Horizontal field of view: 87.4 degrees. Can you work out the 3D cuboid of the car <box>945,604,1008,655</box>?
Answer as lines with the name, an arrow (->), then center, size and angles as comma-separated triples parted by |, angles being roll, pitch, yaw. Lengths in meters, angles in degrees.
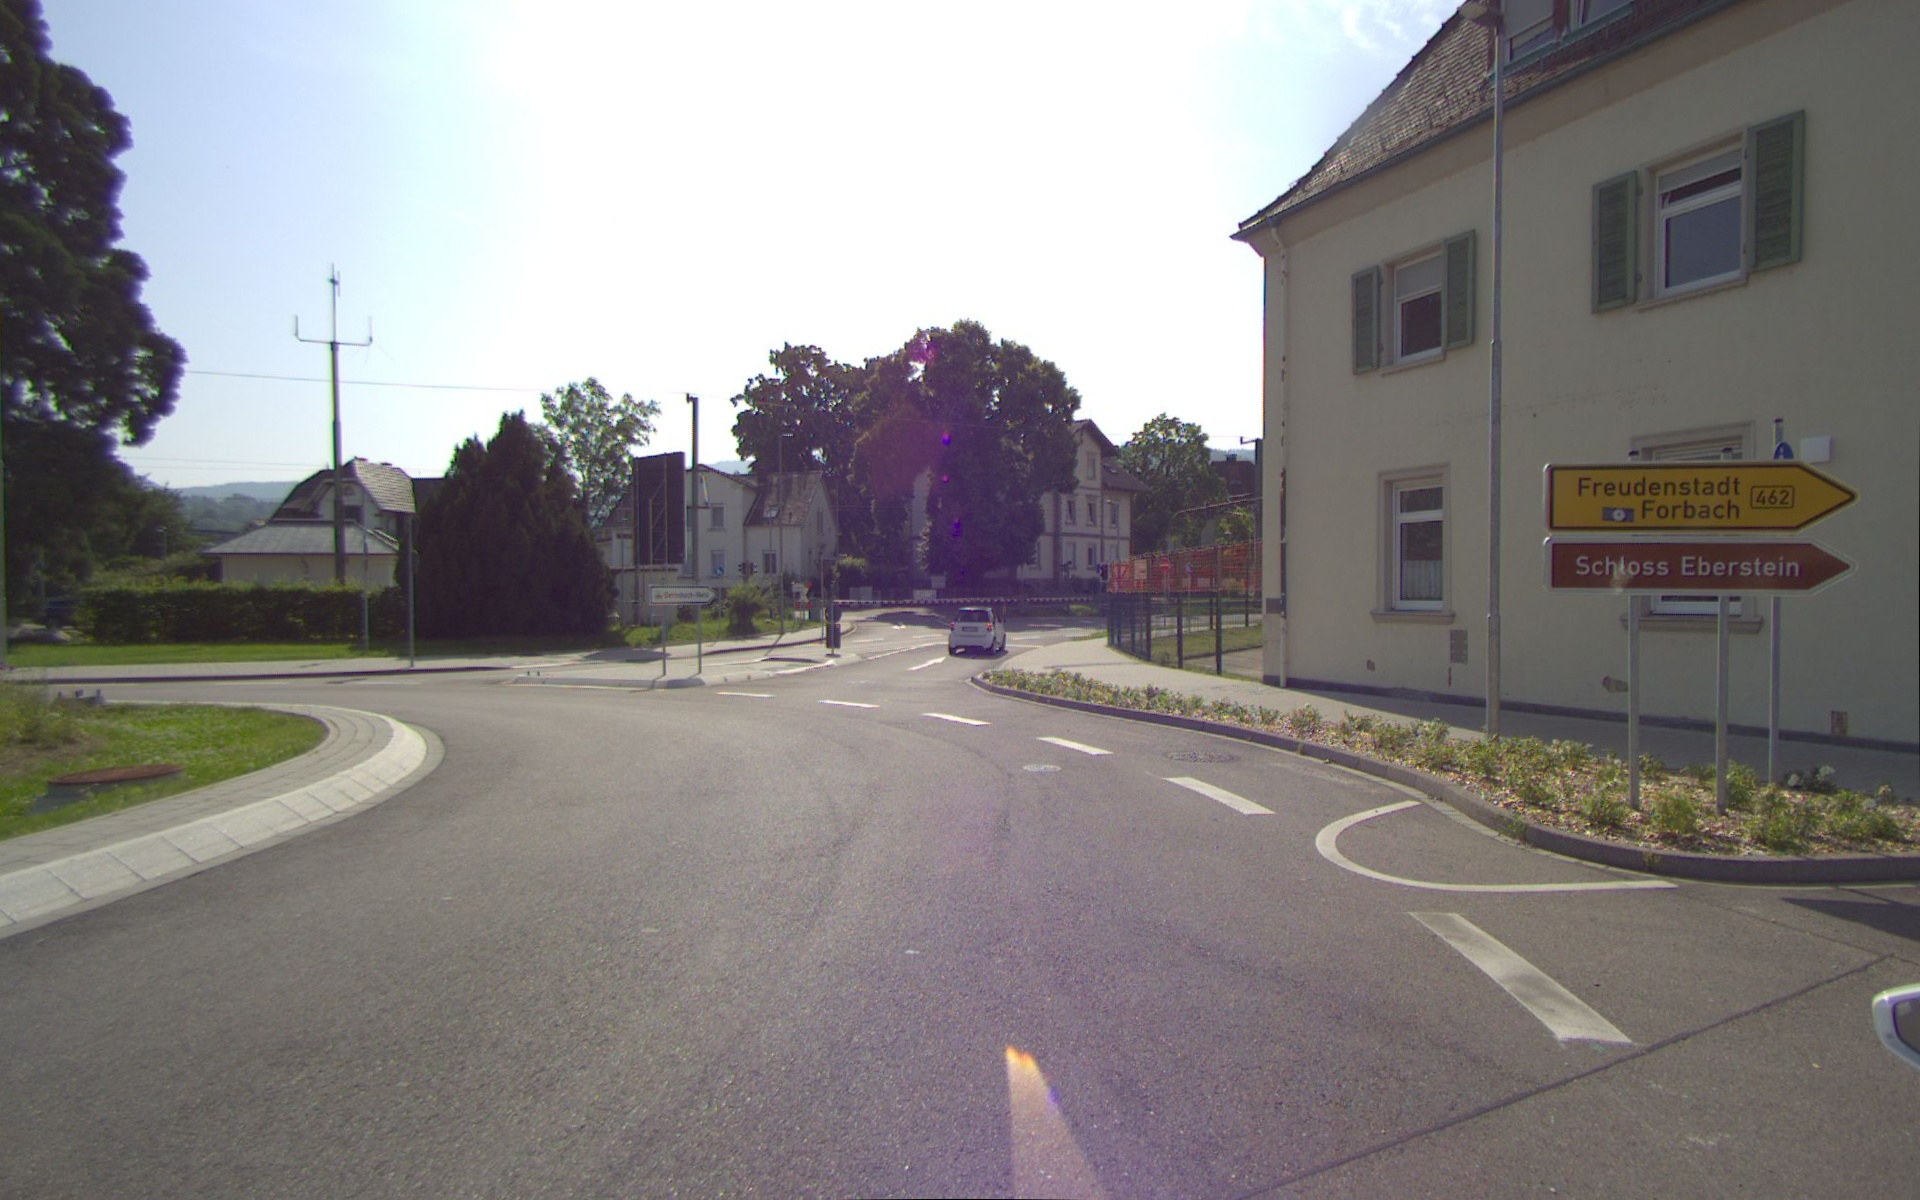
car -> 0.631, 0.976, 34.893 | 1.679, 1.417, 4.001 | 0, 3, 9
